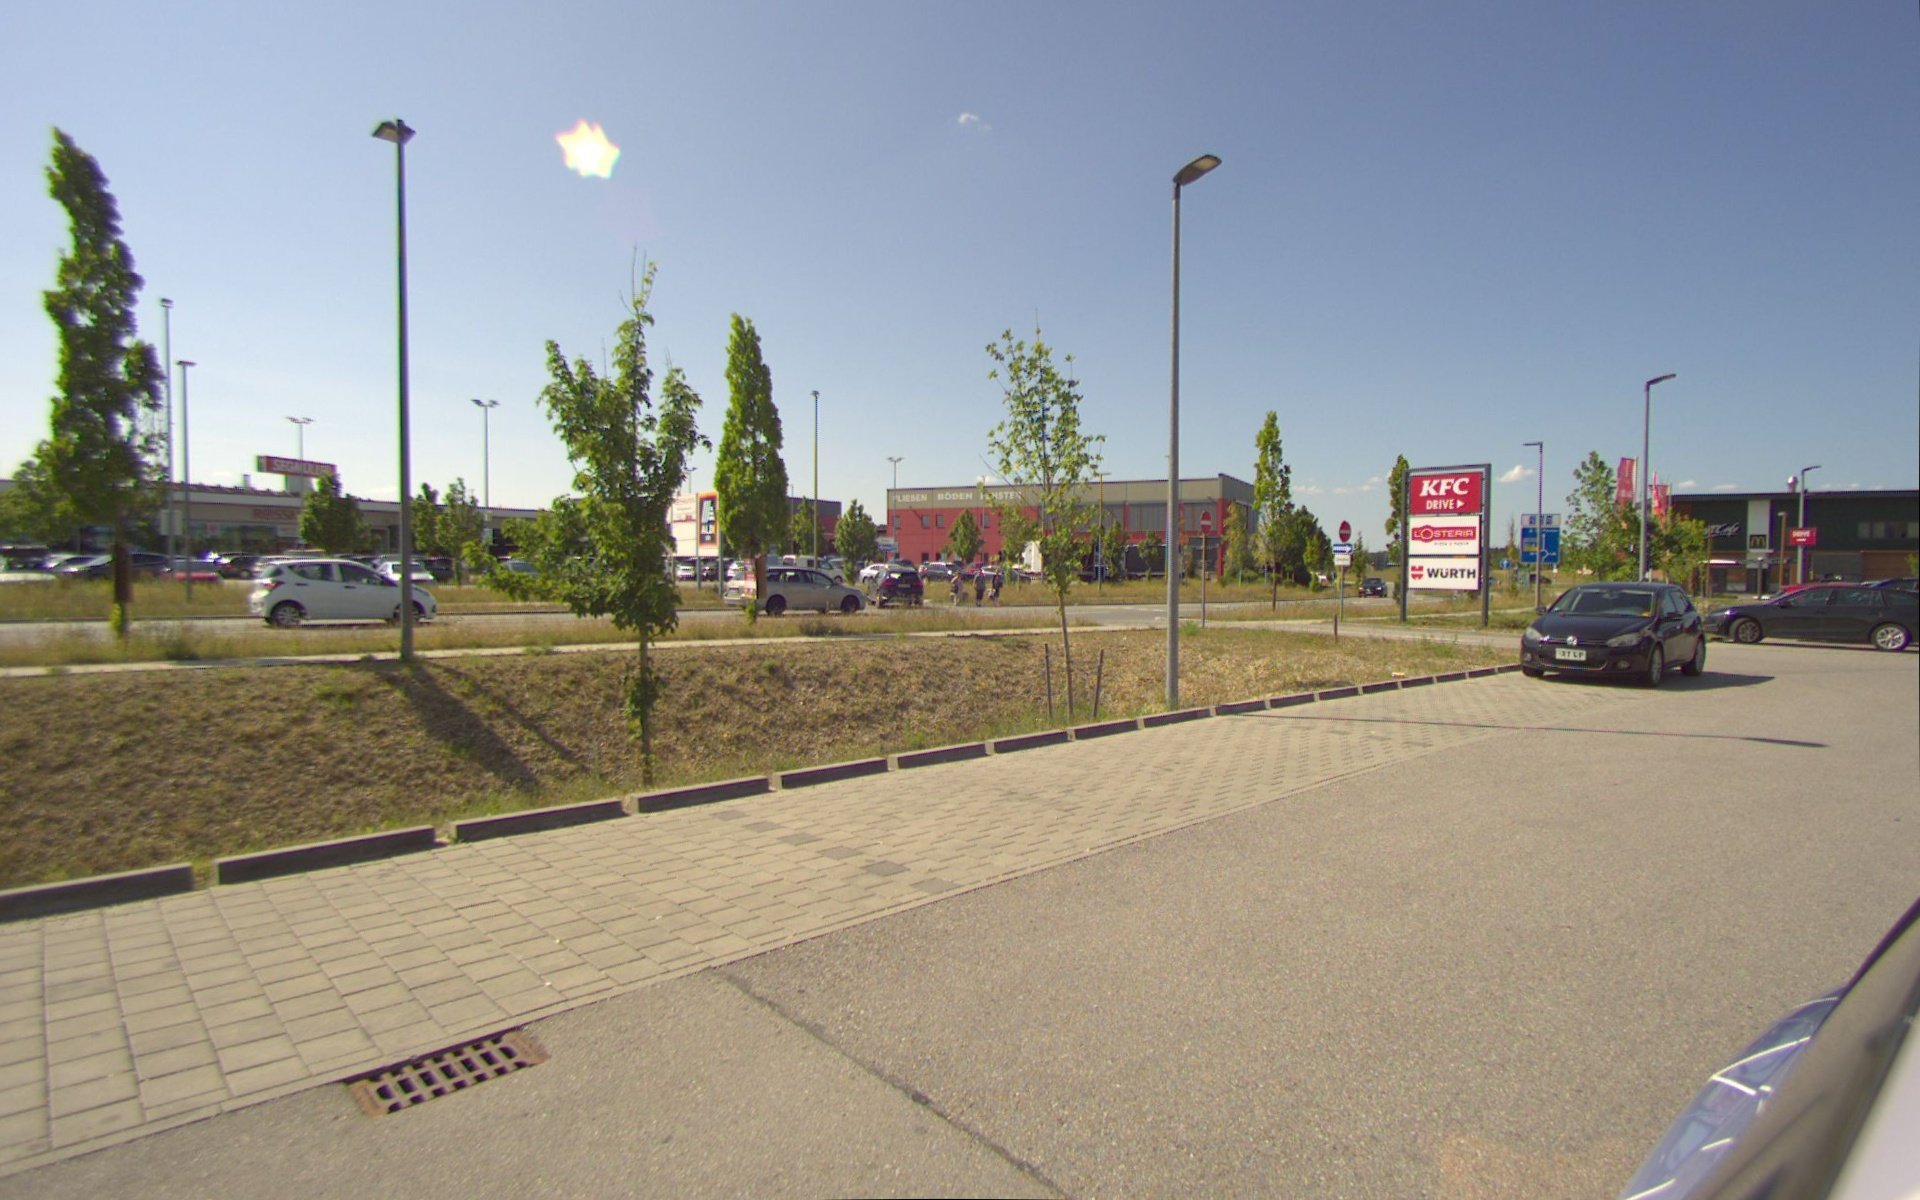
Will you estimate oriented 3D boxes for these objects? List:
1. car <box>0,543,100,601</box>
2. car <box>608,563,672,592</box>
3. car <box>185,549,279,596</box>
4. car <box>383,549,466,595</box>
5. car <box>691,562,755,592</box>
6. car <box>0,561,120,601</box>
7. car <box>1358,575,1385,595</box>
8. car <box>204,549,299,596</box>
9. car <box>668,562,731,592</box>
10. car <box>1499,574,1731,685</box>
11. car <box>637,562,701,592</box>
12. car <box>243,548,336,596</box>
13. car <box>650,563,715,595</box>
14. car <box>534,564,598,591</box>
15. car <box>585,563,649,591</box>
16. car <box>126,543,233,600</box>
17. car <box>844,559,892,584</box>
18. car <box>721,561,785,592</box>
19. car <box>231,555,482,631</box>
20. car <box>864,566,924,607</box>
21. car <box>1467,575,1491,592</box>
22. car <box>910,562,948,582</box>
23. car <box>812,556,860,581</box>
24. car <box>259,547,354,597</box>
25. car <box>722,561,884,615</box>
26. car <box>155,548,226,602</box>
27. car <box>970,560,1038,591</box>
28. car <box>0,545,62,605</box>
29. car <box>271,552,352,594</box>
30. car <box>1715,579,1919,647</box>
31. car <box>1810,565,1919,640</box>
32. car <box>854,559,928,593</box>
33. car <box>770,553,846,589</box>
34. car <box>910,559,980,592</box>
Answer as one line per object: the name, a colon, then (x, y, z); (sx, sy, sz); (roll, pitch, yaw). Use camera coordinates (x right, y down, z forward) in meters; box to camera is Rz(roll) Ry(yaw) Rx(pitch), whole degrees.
car: (-47.277, -1.429, 51.901); (1.977, 2.856, 4.452); (0, 1, 22)
car: (-23.738, -1.701, 75.192); (1.982, 2.063, 4.441); (0, 1, 28)
car: (-46.214, -1.731, 64.344); (1.981, 2.856, 4.441); (0, 1, 28)
car: (-34.249, -1.800, 64.855); (1.977, 2.856, 4.452); (0, 1, 22)
car: (-16.647, -1.645, 71.416); (1.982, 2.063, 4.441); (0, 1, 28)
car: (-44.936, -0.967, 50.353); (1.982, 1.886, 4.441); (0, 1, 28)
car: (32.109, -1.174, 78.878); (1.809, 1.560, 3.967); (1, 1, 24)
car: (-44.262, -1.716, 63.334); (1.981, 2.856, 4.441); (0, 1, 28)
car: (-18.767, -1.675, 73.120); (1.982, 2.063, 4.441); (0, 1, 28)
car: (10.301, 0.355, 15.804); (4.287, 1.483, 1.876); (-1, 2, -40)
car: (-21.223, -1.685, 74.035); (1.982, 2.063, 4.441); (0, 1, 28)
car: (-41.551, -1.717, 62.836); (1.981, 2.856, 4.441); (0, 1, 28)
car: (-16.141, -1.205, 58.735); (1.965, 1.783, 4.478); (-1, 2, -41)
car: (-30.515, -1.746, 78.461); (1.982, 2.063, 4.441); (0, 1, 28)
car: (-25.815, -1.719, 76.387); (1.982, 2.063, 4.441); (0, 1, 28)
car: (-40.893, -1.490, 53.172); (1.964, 2.856, 4.481); (0, 1, 3)
car: (-7.866, -2.467, 87.046); (1.982, 2.063, 4.441); (0, 1, 28)
car: (-14.244, -1.622, 69.976); (1.982, 2.063, 4.441); (0, 1, 28)
car: (-13.795, -0.199, 23.333); (4.682, 1.570, 1.942); (-2, 2, -44)
car: (-2.729, -0.577, 41.064); (1.906, 1.570, 4.770); (0, 1, -10)
car: (51.658, -1.683, 100.726); (1.808, 1.560, 3.970); (1, 2, 23)
car: (-3.201, -2.923, 105.237); (1.982, 2.063, 4.441); (0, 1, 28)
car: (-10.752, -2.734, 87.966); (1.982, 2.063, 4.441); (0, 1, 28)
car: (-39.273, -1.682, 60.917); (1.981, 2.856, 4.441); (0, 1, 28)
car: (-4.849, -0.401, 31.662); (4.677, 1.570, 1.944); (-1, 2, -40)
car: (-30.319, -0.999, 39.813); (1.851, 2.038, 4.130); (-1, 2, -43)
car: (3.009, -1.711, 70.228); (4.464, 2.063, 1.971); (1, 1, 40)
car: (-33.790, -0.907, 36.460); (1.913, 2.038, 4.398); (-1, 2, -45)
car: (-46.135, -1.915, 72.071); (1.981, 2.856, 4.441); (0, 1, 28)
car: (20.955, 0.254, 24.131); (4.520, 1.476, 1.969); (2, 2, 44)
car: (24.907, 0.057, 25.859); (1.963, 1.858, 4.534); (-1, 2, -36)
car: (-4.316, -1.499, 62.788); (4.464, 2.063, 1.971); (1, 1, 40)
car: (-9.680, -1.865, 64.538); (4.405, 2.213, 1.998); (-1, 1, -40)
car: (-1.002, -1.602, 66.448); (4.464, 2.063, 1.971); (1, 1, 40)
